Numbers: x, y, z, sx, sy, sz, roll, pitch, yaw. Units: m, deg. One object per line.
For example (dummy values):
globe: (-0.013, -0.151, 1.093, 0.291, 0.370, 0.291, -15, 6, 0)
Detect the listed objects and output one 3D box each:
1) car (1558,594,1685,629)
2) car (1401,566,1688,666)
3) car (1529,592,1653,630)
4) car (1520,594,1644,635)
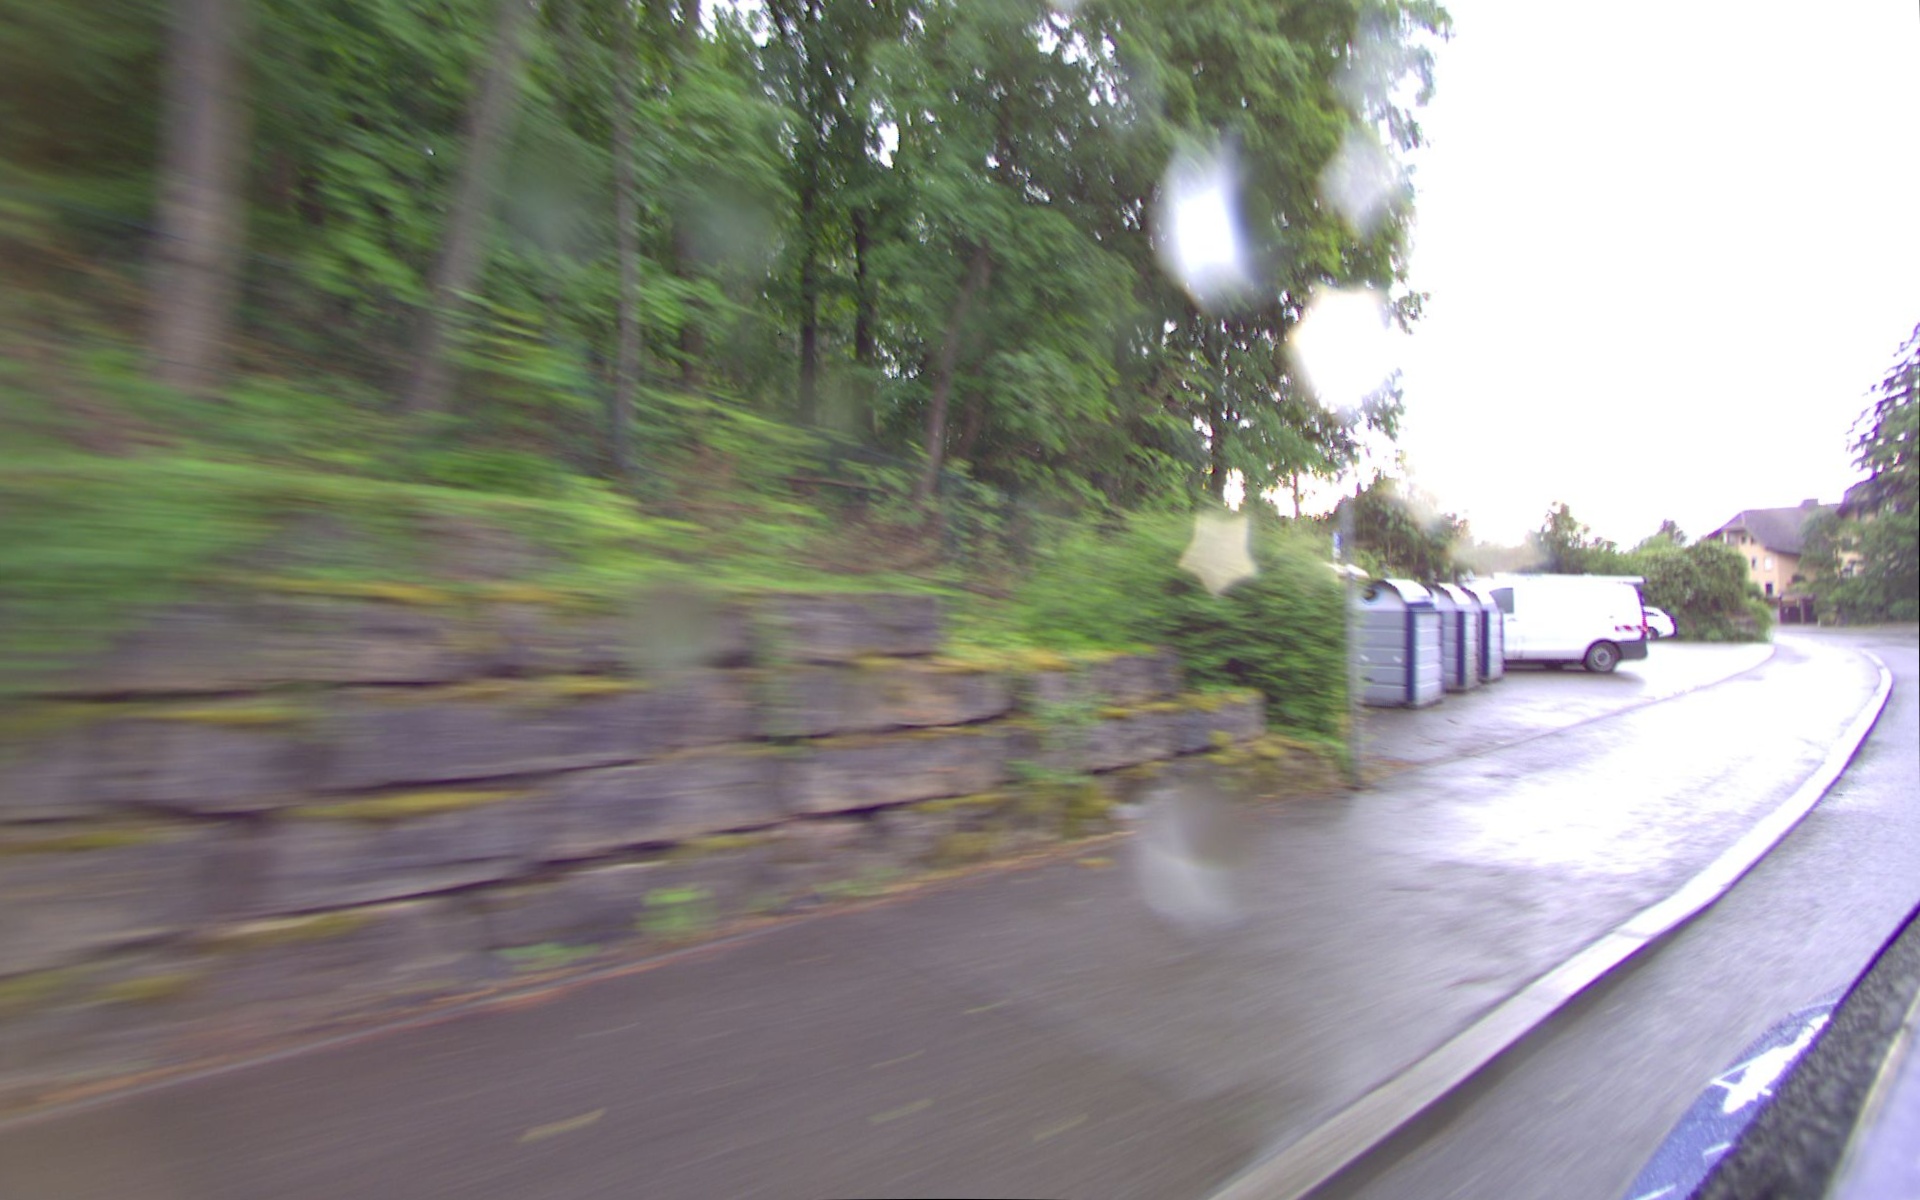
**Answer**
car: (28.821, 0.489, 44.194, 4.247, 1.483, 1.806, 0, 0, 11)
car: (12.182, 0.331, 21.383, 4.751, 1.965, 2.156, 0, -1, 1)
car: (26.050, 0.449, 41.873, 4.015, 1.526, 1.751, 0, 0, 2)
car: (23.919, 0.550, 38.988, 3.720, 1.499, 1.753, 0, 0, -4)
